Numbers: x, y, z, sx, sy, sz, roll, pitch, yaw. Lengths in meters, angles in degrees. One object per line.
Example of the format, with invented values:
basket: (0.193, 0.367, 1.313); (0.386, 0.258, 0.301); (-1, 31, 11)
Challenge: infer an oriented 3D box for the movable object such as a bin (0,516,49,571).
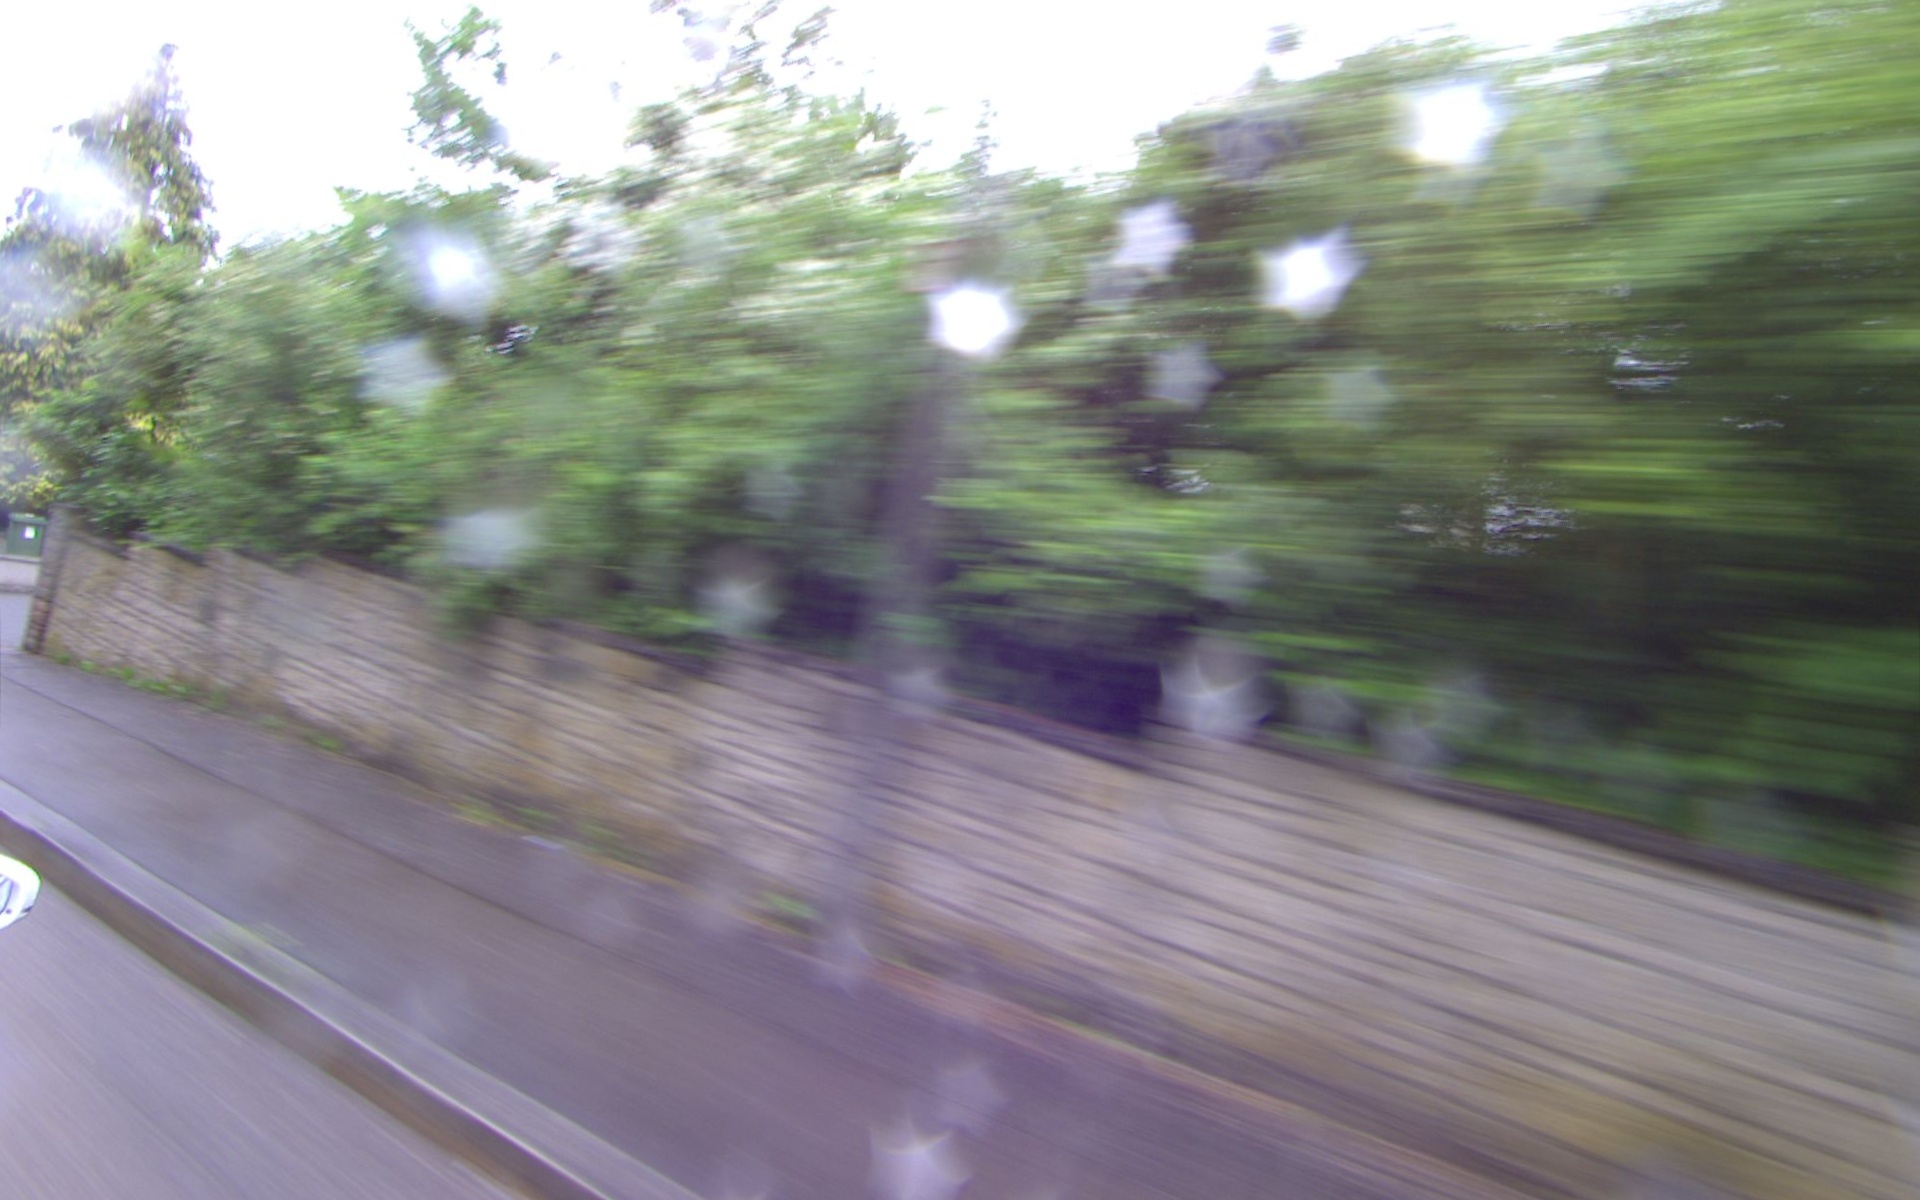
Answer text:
movable object such as a bin: (-19.999, -1.208, 21.511); (0.691, 1.079, 0.561); (7, -2, 37)

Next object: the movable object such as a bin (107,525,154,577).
movable object such as a bin: (-19.018, -1.131, 23.064); (0.691, 1.079, 0.581); (7, -2, 36)

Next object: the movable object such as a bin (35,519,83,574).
movable object such as a bin: (-19.677, -1.168, 21.962); (0.681, 1.079, 0.546); (7, -2, 36)

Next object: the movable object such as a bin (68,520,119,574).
movable object such as a bin: (-19.327, -1.189, 22.445); (0.691, 1.079, 0.626); (7, -2, 36)
